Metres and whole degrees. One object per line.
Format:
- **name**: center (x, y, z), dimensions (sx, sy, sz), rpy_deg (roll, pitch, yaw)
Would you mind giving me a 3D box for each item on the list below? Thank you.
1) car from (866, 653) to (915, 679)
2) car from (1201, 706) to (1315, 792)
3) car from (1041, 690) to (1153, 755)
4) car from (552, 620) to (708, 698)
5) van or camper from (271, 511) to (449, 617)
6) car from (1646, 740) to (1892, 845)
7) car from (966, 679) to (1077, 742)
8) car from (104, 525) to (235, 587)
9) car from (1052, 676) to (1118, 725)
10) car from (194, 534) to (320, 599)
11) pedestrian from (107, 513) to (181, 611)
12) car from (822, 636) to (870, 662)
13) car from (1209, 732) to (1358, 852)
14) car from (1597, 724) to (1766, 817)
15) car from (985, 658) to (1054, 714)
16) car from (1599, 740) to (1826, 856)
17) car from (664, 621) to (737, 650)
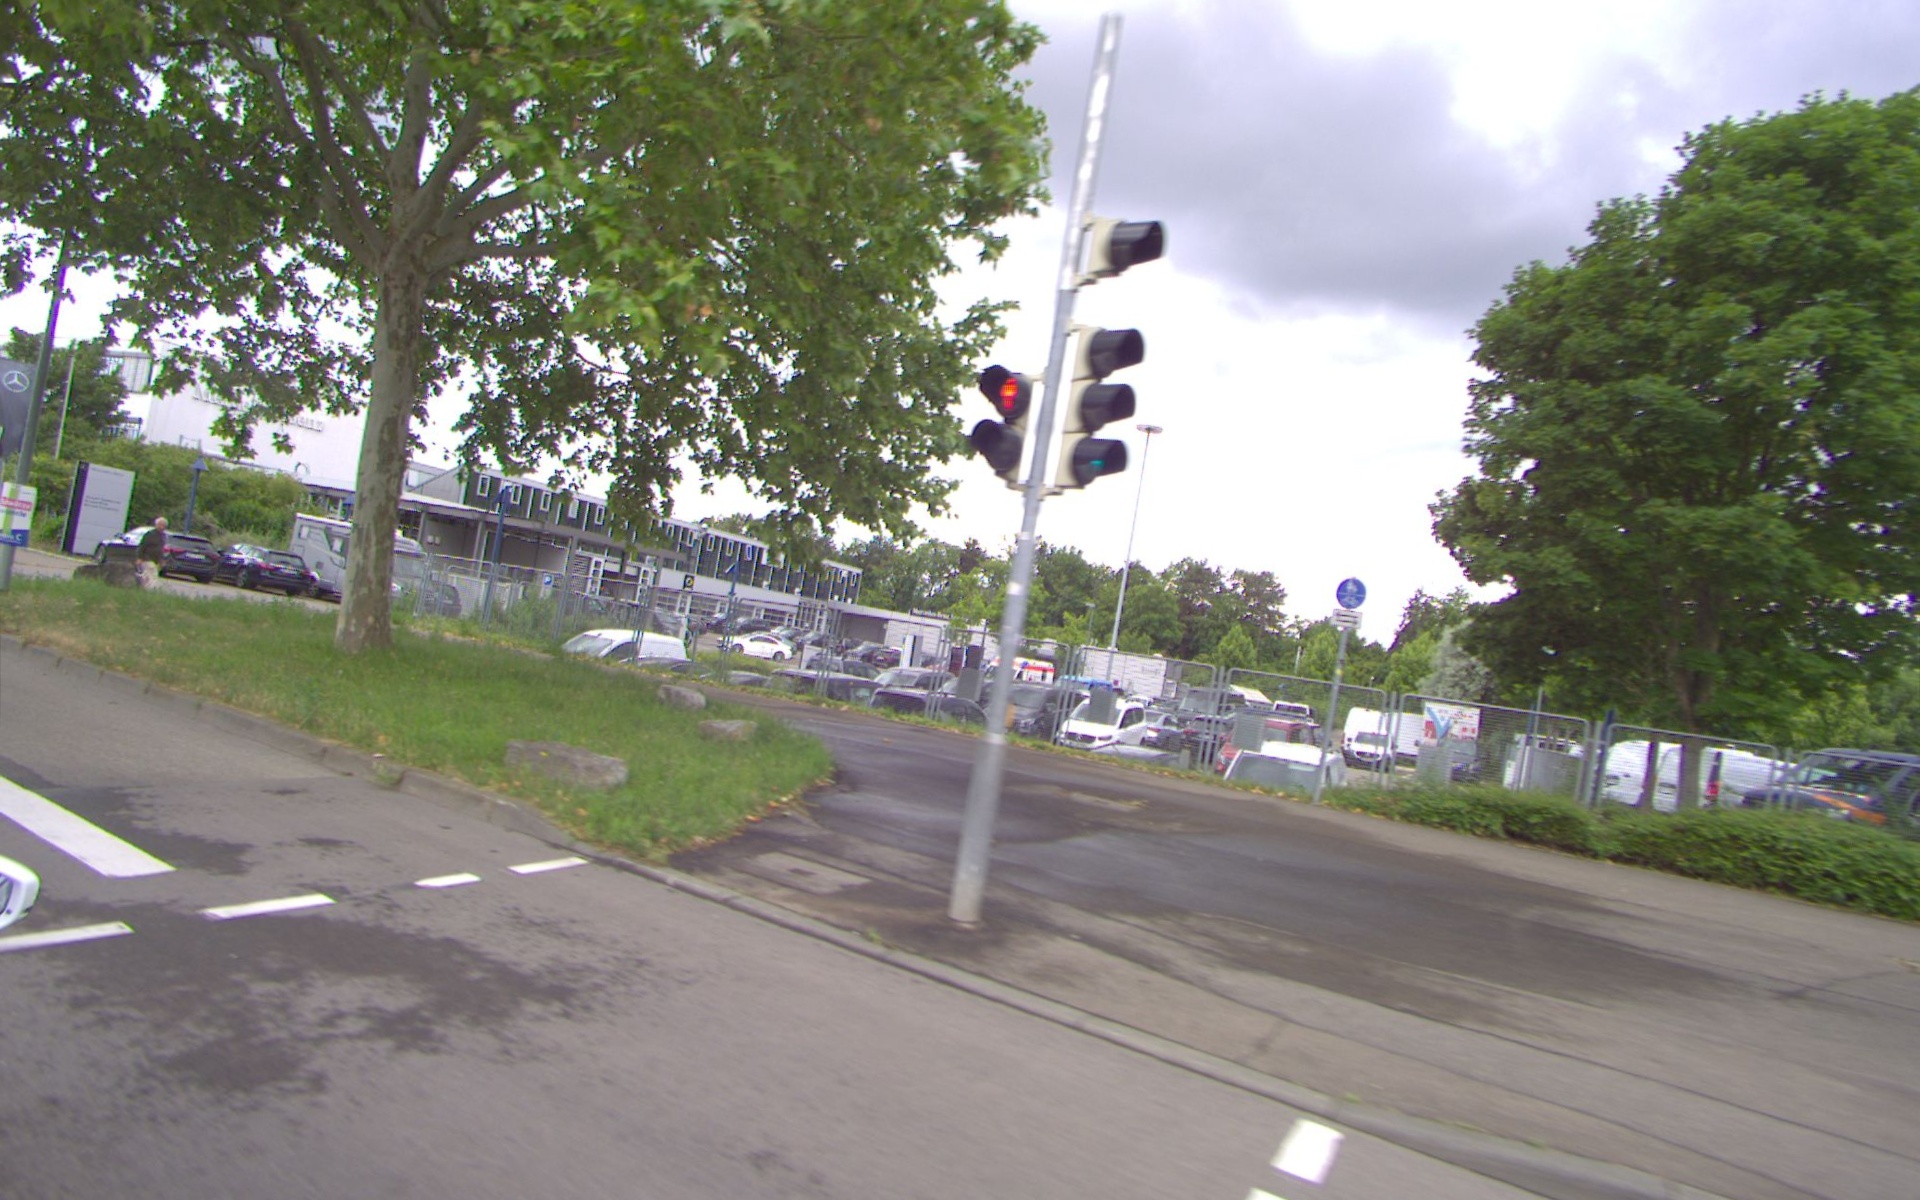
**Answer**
- **car**: center (-5.157, 4.937, 75.081), dimensions (1.598, 1.544, 3.645), rpy_deg (6, -3, 36)
- **car**: center (8.355, 4.108, 27.956), dimensions (1.966, 1.902, 3.998), rpy_deg (7, -3, 31)
- **car**: center (4.258, 3.736, 30.704), dimensions (1.965, 1.569, 4.000), rpy_deg (7, -3, 28)
- **car**: center (-8.711, 1.632, 26.892), dimensions (1.661, 1.635, 3.748), rpy_deg (7, -3, 26)
- **van or camper**: center (-21.394, -1.323, 35.749), dimensions (6.800, 2.901, 1.971), rpy_deg (7, -2, 29)
- **car**: center (16.064, 3.811, 20.088), dimensions (3.531, 1.364, 1.628), rpy_deg (8, -2, -2)
- **car**: center (2.016, 3.494, 31.588), dimensions (1.964, 1.569, 4.002), rpy_deg (7, -3, 26)
- **car**: center (-24.722, -1.396, 31.430), dimensions (4.272, 1.369, 1.714), rpy_deg (7, -2, 31)
- **car**: center (6.411, 5.169, 51.321), dimensions (1.705, 2.136, 3.998), rpy_deg (7, -3, 30)
- **car**: center (-23.579, -1.141, 33.722), dimensions (4.272, 1.523, 1.716), rpy_deg (7, -4, 31)
- **pedestrian**: center (-16.229, -0.741, 20.030), dimensions (0.740, 1.822, 0.857), rpy_deg (8, -1, -24)
- **car**: center (-8.902, 3.867, 78.653), dimensions (1.597, 1.544, 3.646), rpy_deg (6, -3, 35)
- **car**: center (6.127, 3.446, 18.747), dimensions (1.964, 1.635, 4.002), rpy_deg (7, -3, 26)
- **car**: center (24.223, 5.747, 33.972), dimensions (4.353, 2.340, 2.009), rpy_deg (3, -13, 29)
- **car**: center (3.189, 4.617, 53.551), dimensions (1.705, 2.596, 4.113), rpy_deg (7, -3, 30)
- **car**: center (16.547, 4.314, 22.302), dimensions (3.528, 1.776, 1.629), rpy_deg (8, -2, 14)
- **car**: center (-13.211, 1.812, 51.342), dimensions (1.389, 0.989, 3.651), rpy_deg (7, -3, 30)
